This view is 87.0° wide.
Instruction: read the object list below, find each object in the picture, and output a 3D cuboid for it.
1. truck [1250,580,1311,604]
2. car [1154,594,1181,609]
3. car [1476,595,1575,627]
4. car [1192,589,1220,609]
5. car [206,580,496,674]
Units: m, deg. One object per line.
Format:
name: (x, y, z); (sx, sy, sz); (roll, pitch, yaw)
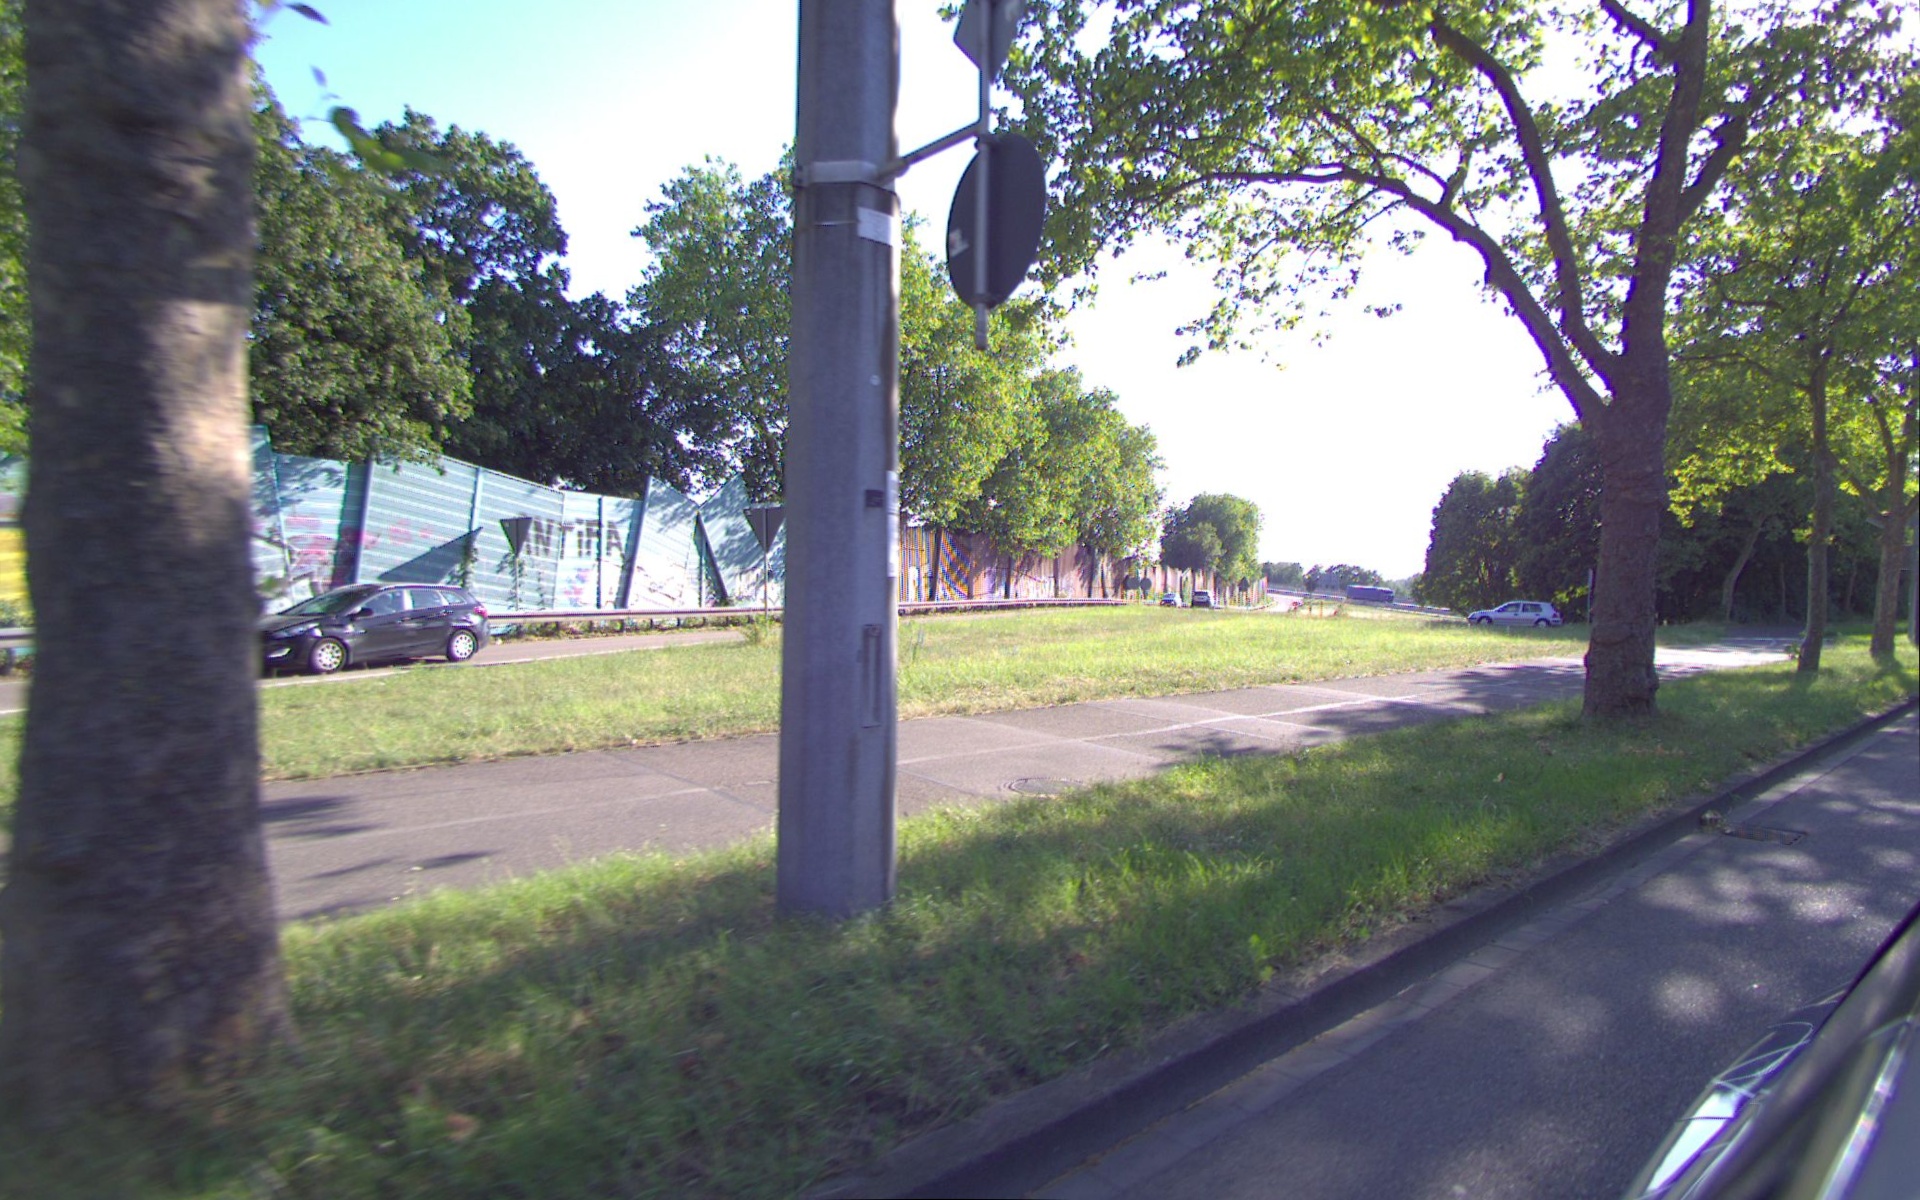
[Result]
truck: (59.942, -1.567, 189.469); (10.485, 3.536, 2.634); (6, 3, 21)
car: (20.374, 0.128, 99.191); (1.778, 1.458, 4.191); (1, 1, 23)
car: (27.676, 0.507, 49.566); (4.107, 1.435, 1.674); (1, 1, 35)
car: (22.293, -0.128, 91.745); (1.796, 1.795, 3.830); (1, 1, 25)
car: (-10.614, 0.387, 17.997); (1.779, 1.458, 4.189); (1, 1, 24)
